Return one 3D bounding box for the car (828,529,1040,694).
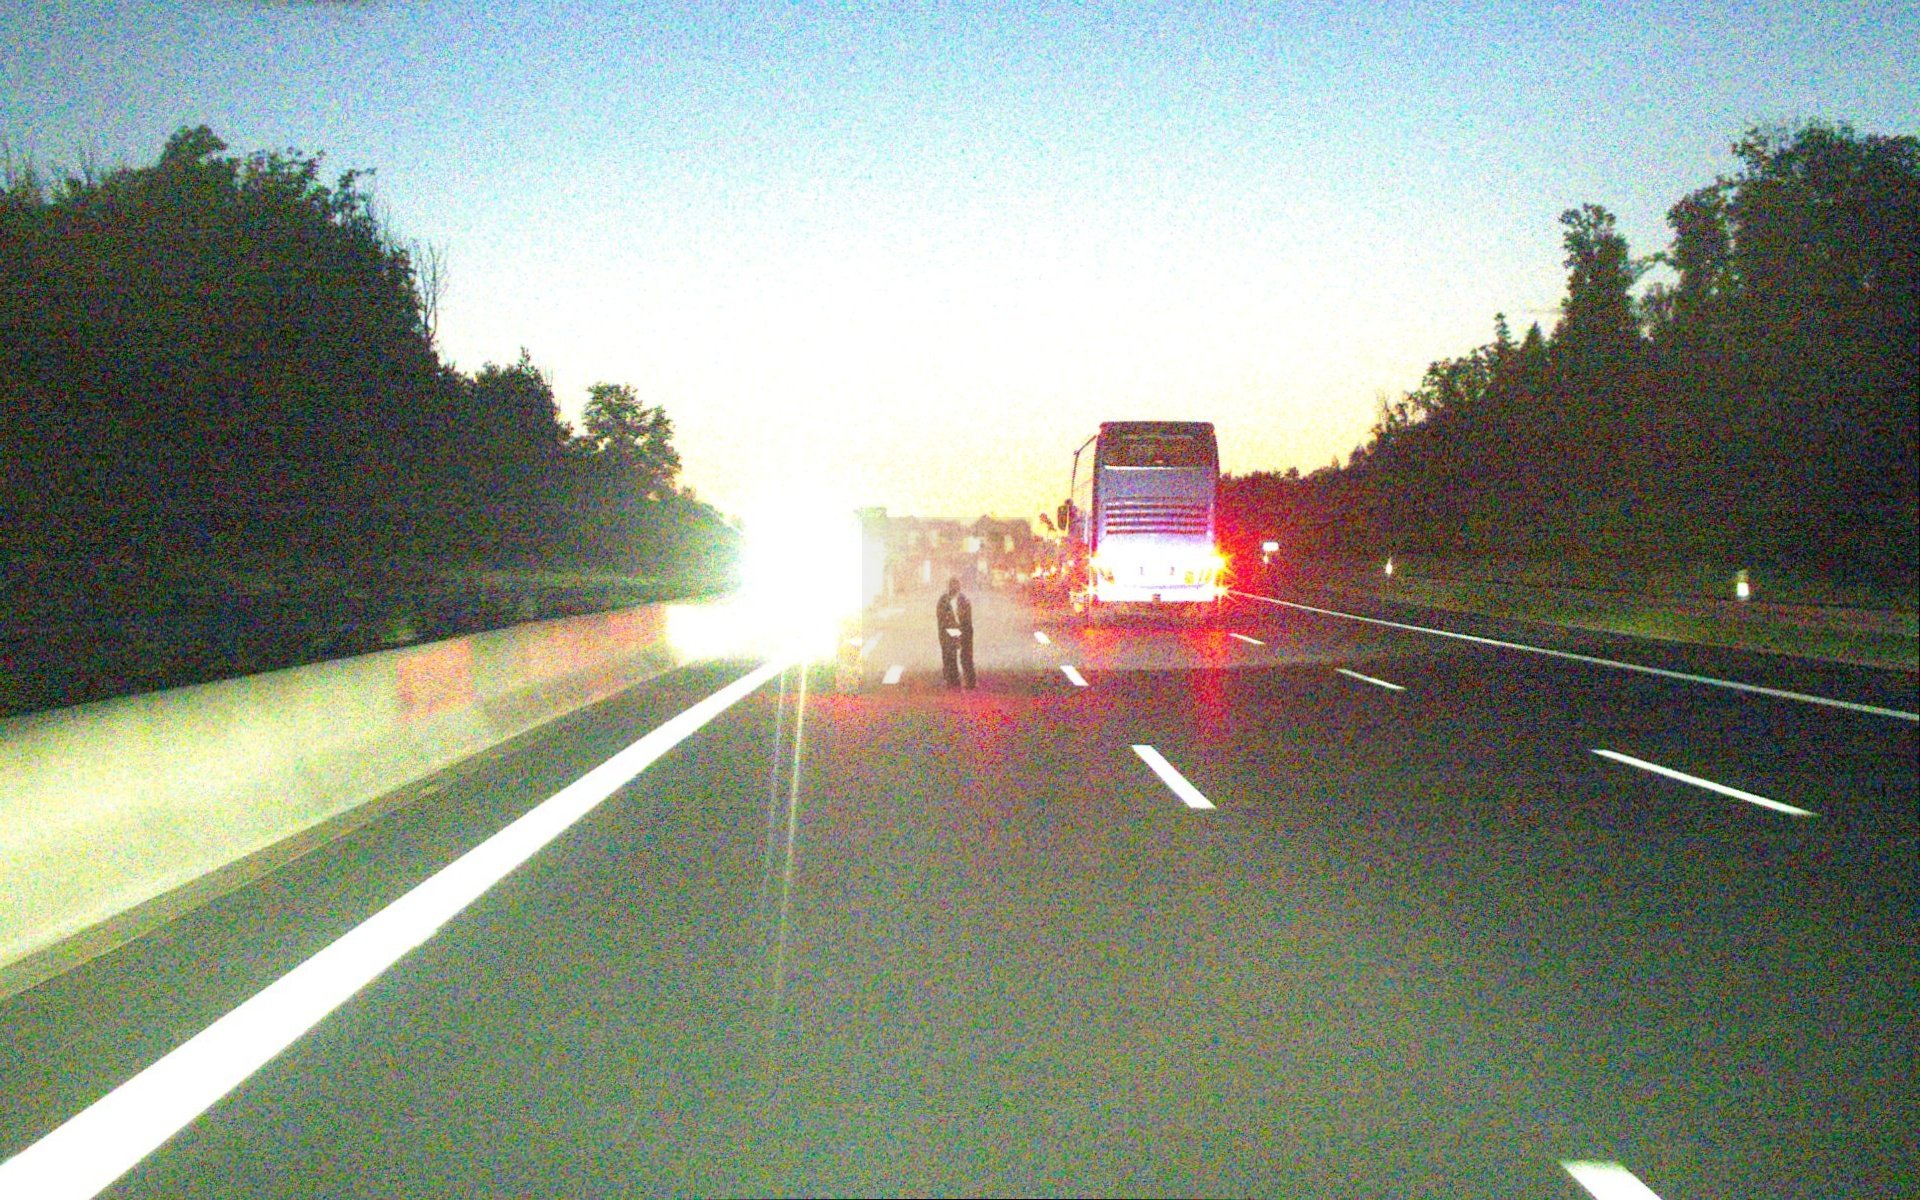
[{"bbox_3d":[-0.323,0.120,36.770,2.105,1.612,4.204,-1,0,-2],"label":"car"}]

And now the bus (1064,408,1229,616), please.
[{"bbox_3d":[3.848,-1.702,74.248,2.652,3.980,14.701,-2,0,0],"label":"bus"}]
